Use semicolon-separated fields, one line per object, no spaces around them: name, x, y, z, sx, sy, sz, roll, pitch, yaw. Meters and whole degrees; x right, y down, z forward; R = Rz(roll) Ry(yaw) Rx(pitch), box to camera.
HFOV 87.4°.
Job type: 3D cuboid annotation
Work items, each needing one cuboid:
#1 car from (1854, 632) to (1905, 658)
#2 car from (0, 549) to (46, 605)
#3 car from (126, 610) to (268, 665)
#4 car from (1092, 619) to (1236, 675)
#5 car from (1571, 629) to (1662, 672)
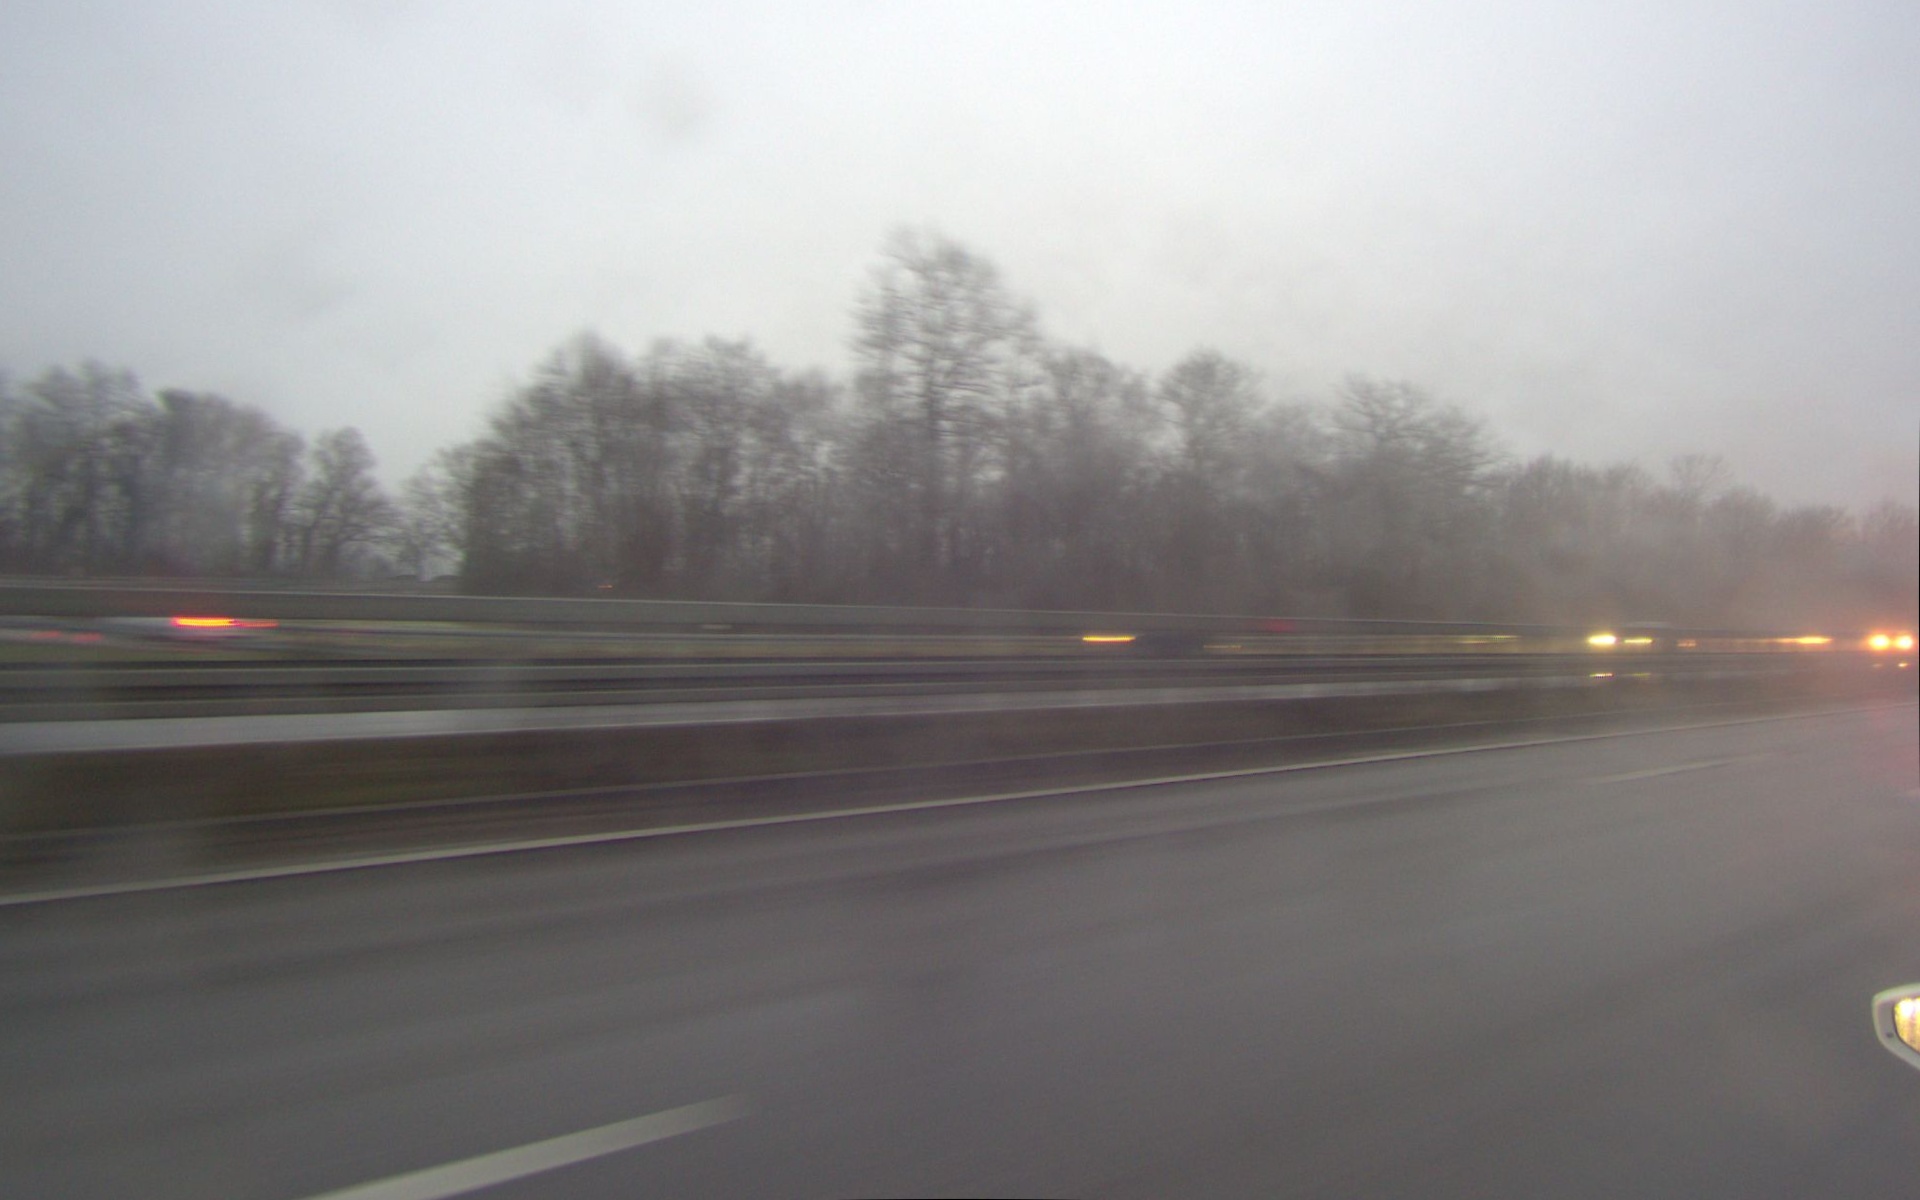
car;60.085;2.908;65.678;1.718;1.507;3.990;2;0;32
car;-53.636;-1.355;57.437;1.985;2.037;3.958;-2;21;-42
car;-24.044;1.136;31.664;3.922;1.507;1.748;2;1;21
car;6.091;1.412;29.999;3.945;1.507;1.738;2;0;-24
car;25.829;1.938;39.472;4.392;1.507;1.728;1;2;-40
